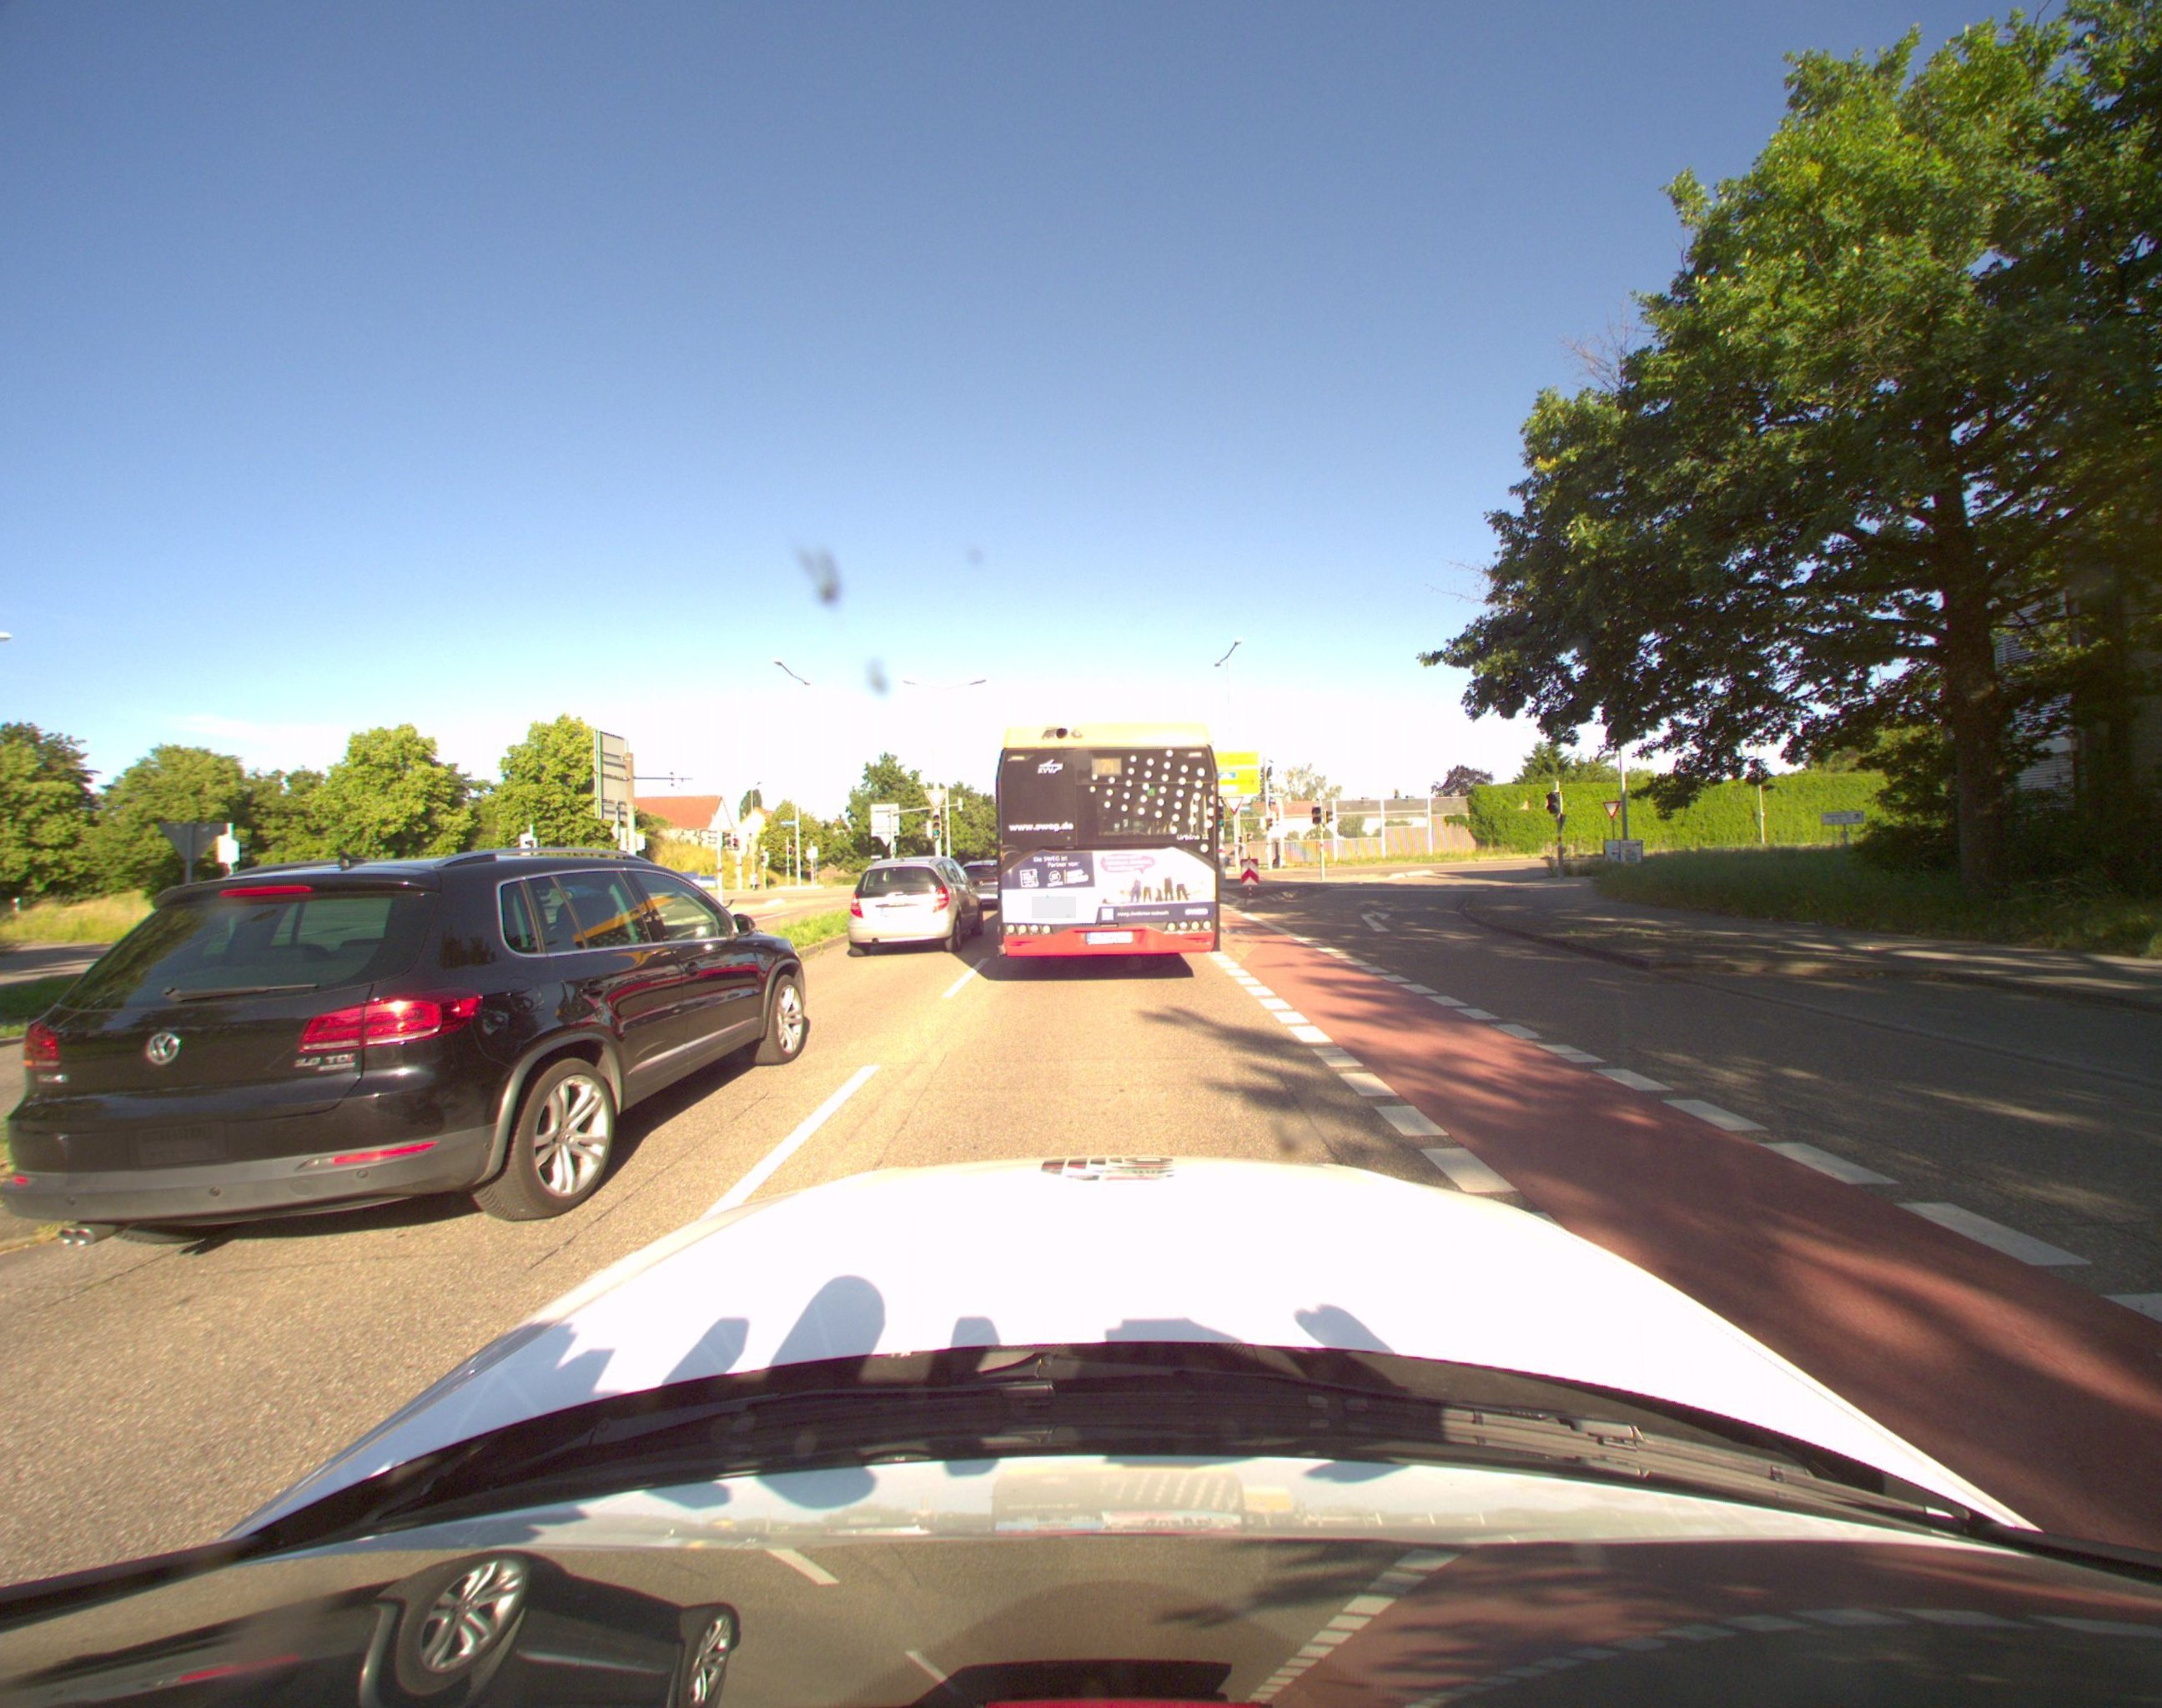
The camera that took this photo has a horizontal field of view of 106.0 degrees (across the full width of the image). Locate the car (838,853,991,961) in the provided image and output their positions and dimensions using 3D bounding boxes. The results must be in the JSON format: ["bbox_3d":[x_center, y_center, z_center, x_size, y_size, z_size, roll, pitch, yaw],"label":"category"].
[{"bbox_3d":[-2.817,0.824,14.684,1.755,1.589,4.001,-3,0,1],"label":"car"}]

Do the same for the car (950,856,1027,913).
[{"bbox_3d":[-2.659,0.849,24.134,1.686,1.458,3.751,-3,0,1],"label":"car"}]

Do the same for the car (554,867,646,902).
[{"bbox_3d":[-24.572,1.538,41.683,3.577,1.560,1.747,-2,0,-5],"label":"car"}]

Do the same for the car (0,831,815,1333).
[{"bbox_3d":[-3.182,0.800,4.828,1.766,1.653,4.000,-3,0,1],"label":"car"}]

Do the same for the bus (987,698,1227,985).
[{"bbox_3d":[0.525,-0.167,15.042,2.632,3.167,11.867,-1,0,2],"label":"bus"}]

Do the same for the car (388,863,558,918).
[{"bbox_3d":[-25.632,1.505,34.511,5.375,2.118,2.178,-1,-1,-4],"label":"car"}]
